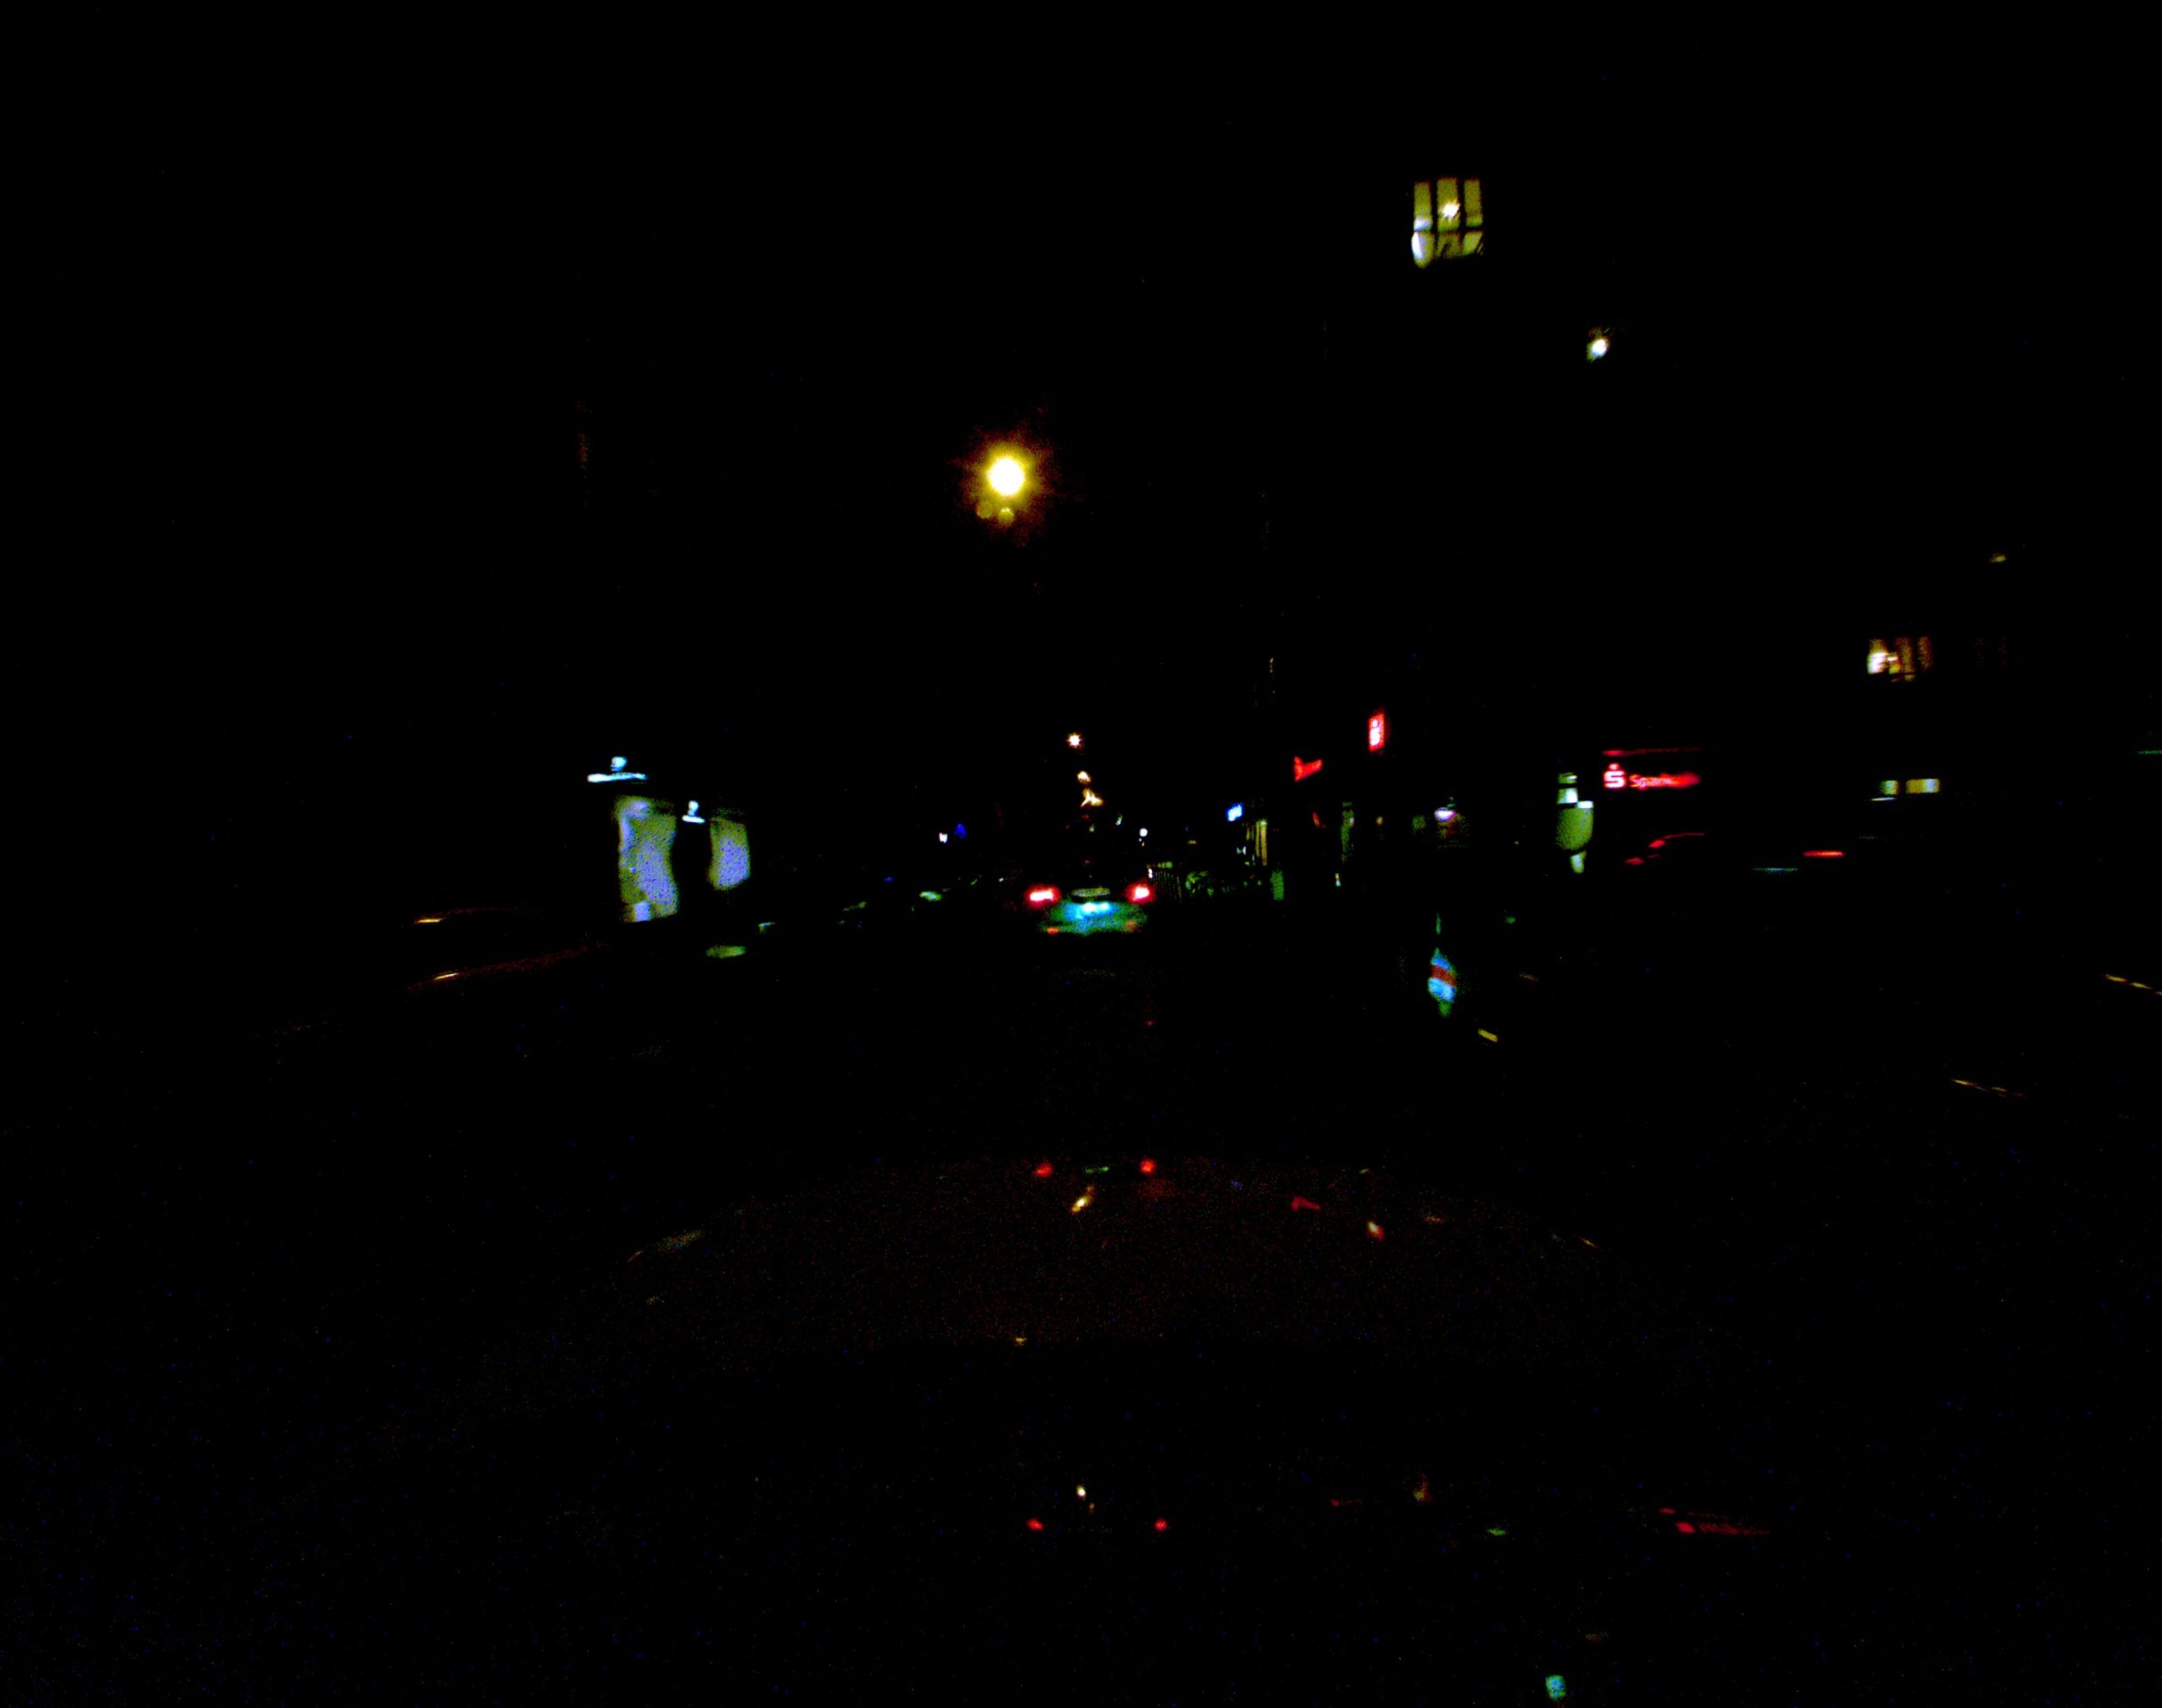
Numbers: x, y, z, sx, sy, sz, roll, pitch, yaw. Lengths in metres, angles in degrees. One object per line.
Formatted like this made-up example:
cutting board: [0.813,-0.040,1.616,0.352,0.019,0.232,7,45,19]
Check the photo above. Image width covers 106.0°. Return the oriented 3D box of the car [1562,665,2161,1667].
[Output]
car: [2.645,0.498,1.138,1.666,1.722,3.858,-4,0,2]

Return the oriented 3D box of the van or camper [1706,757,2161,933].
van or camper: [12.943,-0.106,12.291,5.292,2.398,2.121,0,-1,4]

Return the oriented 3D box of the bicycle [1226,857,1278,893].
bicycle: [5.667,0.701,27.025,1.525,0.952,0.366,-8,-1,-3]

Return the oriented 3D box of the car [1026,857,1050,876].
car: [-3.538,1.004,68.047,1.666,1.491,3.722,-1,0,1]

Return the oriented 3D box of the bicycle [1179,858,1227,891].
bicycle: [4.521,0.758,30.176,1.660,0.952,0.367,-9,-1,8]

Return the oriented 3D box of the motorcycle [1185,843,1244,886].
motorcycle: [5.776,0.449,35.398,2.280,1.588,0.867,-7,-1,0]

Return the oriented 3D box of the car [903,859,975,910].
car: [-4.617,0.957,27.017,1.563,1.460,3.721,-2,0,2]

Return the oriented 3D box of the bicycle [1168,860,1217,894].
bicycle: [3.837,0.779,28.062,1.525,0.952,0.366,-8,-1,-3]

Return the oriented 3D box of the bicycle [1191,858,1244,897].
bicycle: [4.312,0.736,25.774,1.522,1.023,0.367,-8,-1,4]

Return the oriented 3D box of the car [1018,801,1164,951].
car: [0.218,0.300,13.919,1.988,2.049,4.696,-2,0,2]

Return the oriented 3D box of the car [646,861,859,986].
car: [-4.969,0.958,12.919,1.720,1.575,3.721,-2,0,2]

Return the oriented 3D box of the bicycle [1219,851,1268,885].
bicycle: [5.588,0.494,28.041,1.525,0.952,0.366,-8,-1,-3]

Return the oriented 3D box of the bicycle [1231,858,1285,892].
bicycle: [5.497,0.650,25.309,1.522,0.833,0.326,-8,-1,4]

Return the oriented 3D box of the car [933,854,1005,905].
car: [-4.431,0.949,33.036,1.988,1.829,5.209,-2,0,2]

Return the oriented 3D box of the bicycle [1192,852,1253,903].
bicycle: [3.968,0.657,22.888,1.522,1.202,0.366,-8,-1,3]

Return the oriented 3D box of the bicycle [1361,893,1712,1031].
bicycle: [3.434,0.805,6.347,2.244,0.894,0.622,-4,0,30]

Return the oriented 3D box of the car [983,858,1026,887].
car: [-4.158,0.971,45.064,1.760,1.483,4.774,1,0,2]

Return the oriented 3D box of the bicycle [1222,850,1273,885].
bicycle: [5.598,0.449,27.461,1.526,0.952,0.366,-8,-1,-4]

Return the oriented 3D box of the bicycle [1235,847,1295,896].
bicycle: [5.362,0.516,23.809,1.524,1.202,0.366,-8,-1,-1]

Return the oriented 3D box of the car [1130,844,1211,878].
car: [5.235,0.410,48.111,4.498,1.530,1.780,-6,0,0]

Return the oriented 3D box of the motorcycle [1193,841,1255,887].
motorcycle: [5.631,0.387,32.188,2.165,1.547,0.867,-7,-1,0]

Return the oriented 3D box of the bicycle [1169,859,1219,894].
bicycle: [3.832,0.756,27.641,1.525,0.952,0.366,-8,-1,-3]

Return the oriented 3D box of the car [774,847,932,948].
car: [-4.783,0.821,17.885,1.895,1.829,4.831,-2,0,2]

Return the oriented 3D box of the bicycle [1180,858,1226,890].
bicycle: [4.408,0.730,29.411,1.520,0.952,0.367,-9,-1,8]

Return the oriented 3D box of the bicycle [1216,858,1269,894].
bicycle: [5.191,0.698,26.212,1.522,0.952,0.367,-8,-1,4]

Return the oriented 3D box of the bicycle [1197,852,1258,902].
bicycle: [4.203,0.658,23.337,1.524,1.202,0.366,-8,-1,-1]

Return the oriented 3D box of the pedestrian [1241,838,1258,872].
pedestrian: [9.315,0.049,45.035,0.699,1.788,0.625,-4,1,4]

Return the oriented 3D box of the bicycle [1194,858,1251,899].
bicycle: [4.250,0.726,24.468,1.524,1.023,0.366,-8,-1,-1]

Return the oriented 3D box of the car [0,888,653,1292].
car: [-5.055,1.067,5.517,1.720,1.392,4.557,-2,0,2]

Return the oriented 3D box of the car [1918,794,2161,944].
car: [12.234,0.110,8.988,3.971,1.485,1.896,-1,0,2]

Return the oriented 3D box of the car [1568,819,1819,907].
car: [13.457,0.185,18.090,4.129,1.770,1.843,-1,0,2]
